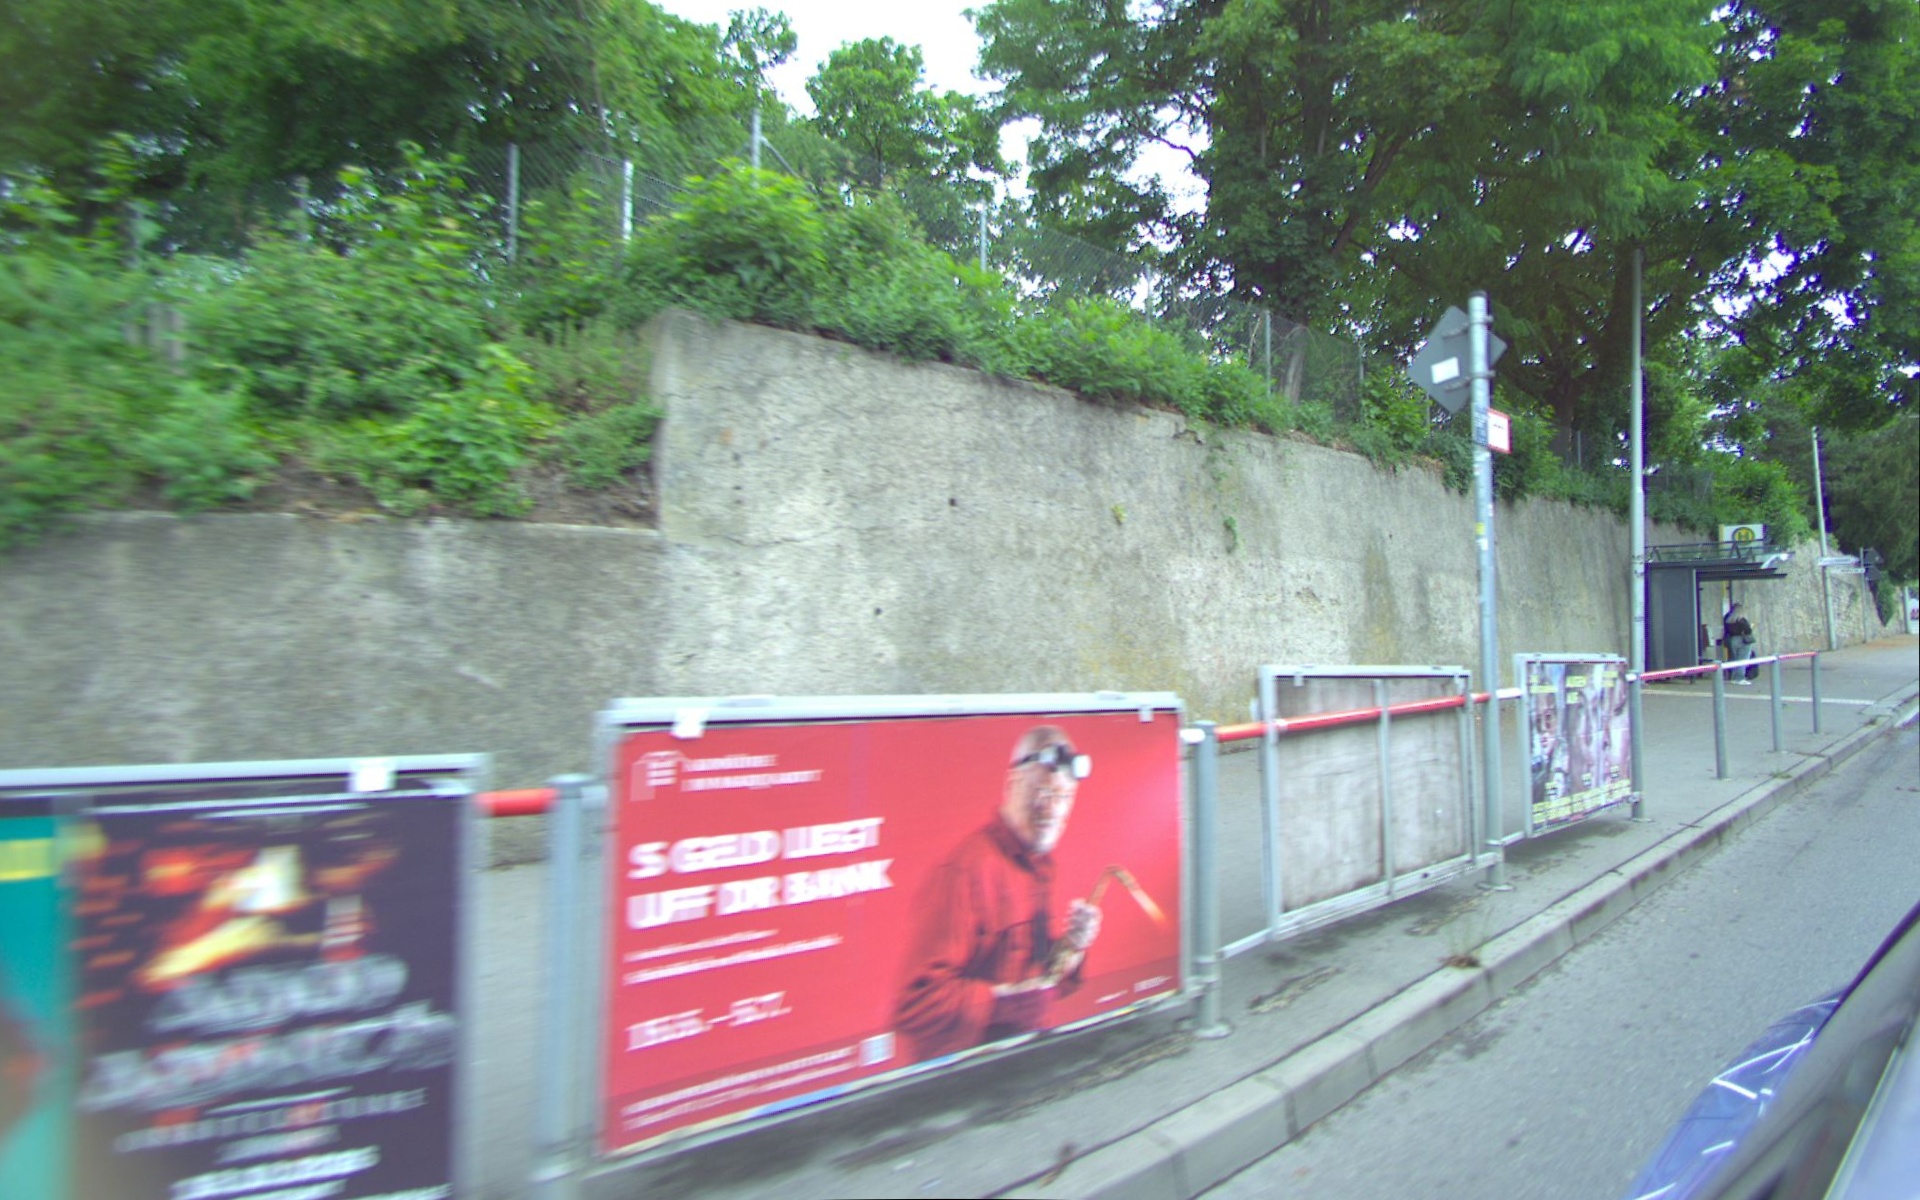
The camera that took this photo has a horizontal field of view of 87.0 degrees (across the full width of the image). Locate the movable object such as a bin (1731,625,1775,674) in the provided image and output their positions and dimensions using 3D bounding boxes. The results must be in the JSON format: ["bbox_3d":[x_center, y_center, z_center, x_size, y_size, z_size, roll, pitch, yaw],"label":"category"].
[{"bbox_3d":[17.386,1.082,22.194,0.674,1.033,0.617,-3,-3,43],"label":"movable object such as a bin"}]

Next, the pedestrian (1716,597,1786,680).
[{"bbox_3d":[15.634,0.747,20.014,0.758,1.608,0.737,0,-2,-1],"label":"pedestrian"}]

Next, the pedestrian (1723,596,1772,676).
[{"bbox_3d":[16.910,0.767,21.744,0.720,1.664,0.621,-3,-2,43],"label":"pedestrian"}]
